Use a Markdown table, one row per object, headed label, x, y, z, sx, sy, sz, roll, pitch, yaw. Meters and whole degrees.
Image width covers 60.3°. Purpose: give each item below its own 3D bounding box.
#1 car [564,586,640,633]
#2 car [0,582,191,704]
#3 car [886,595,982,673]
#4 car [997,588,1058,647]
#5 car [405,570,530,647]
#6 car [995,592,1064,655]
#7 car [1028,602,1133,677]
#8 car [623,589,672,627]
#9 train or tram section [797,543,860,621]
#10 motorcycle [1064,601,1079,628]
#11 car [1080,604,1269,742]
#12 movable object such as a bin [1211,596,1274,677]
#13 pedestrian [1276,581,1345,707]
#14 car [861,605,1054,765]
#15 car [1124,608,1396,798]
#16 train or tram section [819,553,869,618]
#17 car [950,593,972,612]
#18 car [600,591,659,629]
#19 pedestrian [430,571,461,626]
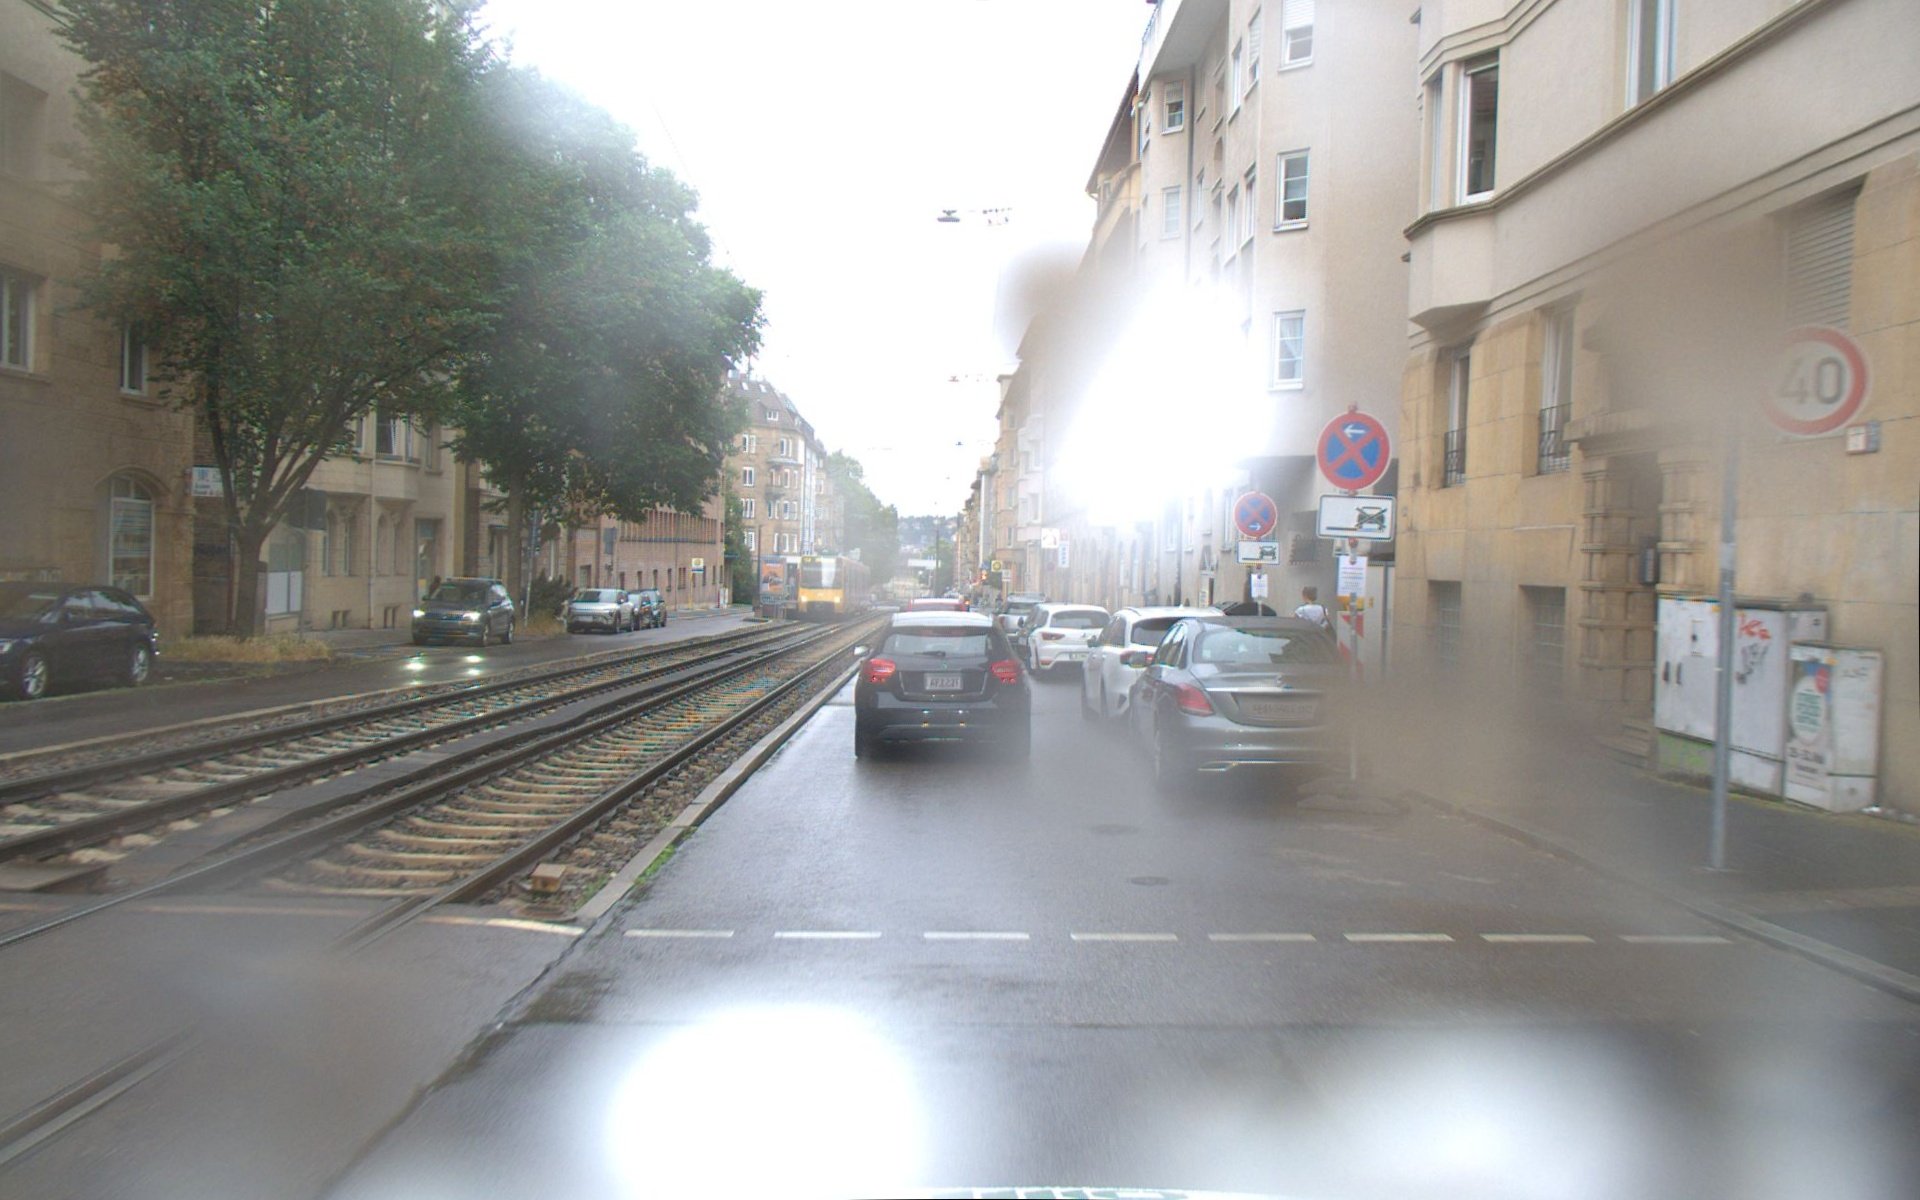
| label | x | y | z | sx | sy | sz | roll | pitch | yaw |
| --- | --- | --- | --- | --- | --- | --- | --- | --- | --- |
| car | -13.079 | 0.323 | 60.732 | 1.921 | 1.633 | 4.327 | 2 | 0 | -2 |
| car | -12.439 | 0.538 | 22.519 | 1.745 | 1.485 | 4.976 | 0 | -1 | -2 |
| car | -0.548 | 0.709 | 36.262 | 1.953 | 1.552 | 4.245 | 1 | 0 | -1 |
| car | 2.087 | 0.548 | 52.076 | 1.742 | 1.780 | 4.548 | 0 | -1 | 0 |
| car | -12.848 | 0.189 | 43.467 | 1.914 | 1.772 | 4.777 | 4 | 0 | -2 |
| car | 1.895 | 0.648 | 46.014 | 1.803 | 1.636 | 4.761 | 0 | -1 | 1 |
| car | 2.367 | 0.763 | 33.427 | 1.753 | 1.410 | 4.394 | 0 | -1 | -1 |
| car | -13.101 | 0.318 | 69.554 | 1.540 | 1.492 | 3.044 | 1 | 0 | -2 |
| train or tram section | -7.592 | -0.997 | 97.298 | 2.690 | 4.133 | 17.209 | 0 | 0 | -1 |
| motorcycle | 5.043 | 0.643 | 74.977 | 0.545 | 1.180 | 2.269 | -3 | 0 | 1 |
| car | 2.510 | 0.819 | 20.368 | 1.677 | 1.493 | 4.773 | 0 | -1 | 0 |
| movable object such as a bin | 5.328 | 0.687 | 31.252 | 0.960 | 1.494 | 1.272 | 0 | -1 | -1 |
| pedestrian | 4.874 | 0.611 | 23.029 | 0.788 | 1.717 | 0.754 | 0 | -1 | -1 |
| car | -0.038 | 0.801 | 17.482 | 1.797 | 1.478 | 3.901 | 1 | 0 | -1 |
| car | 2.523 | 0.809 | 15.001 | 1.675 | 1.435 | 4.817 | 0 | -1 | 1 |
| train or tram section | -7.856 | -0.986 | 113.503 | 2.690 | 4.133 | 15.656 | 0 | 0 | -1 |
| car | 0.117 | 0.241 | 144.957 | 1.848 | 1.552 | 4.246 | 1 | 0 | 1 |
| car | -13.104 | 0.371 | 65.790 | 1.633 | 1.440 | 3.686 | 2 | 0 | -1 |
| pedestrian | -16.095 | -0.035 | 51.728 | 0.713 | 1.692 | 0.770 | 1 | 0 | -1 |
